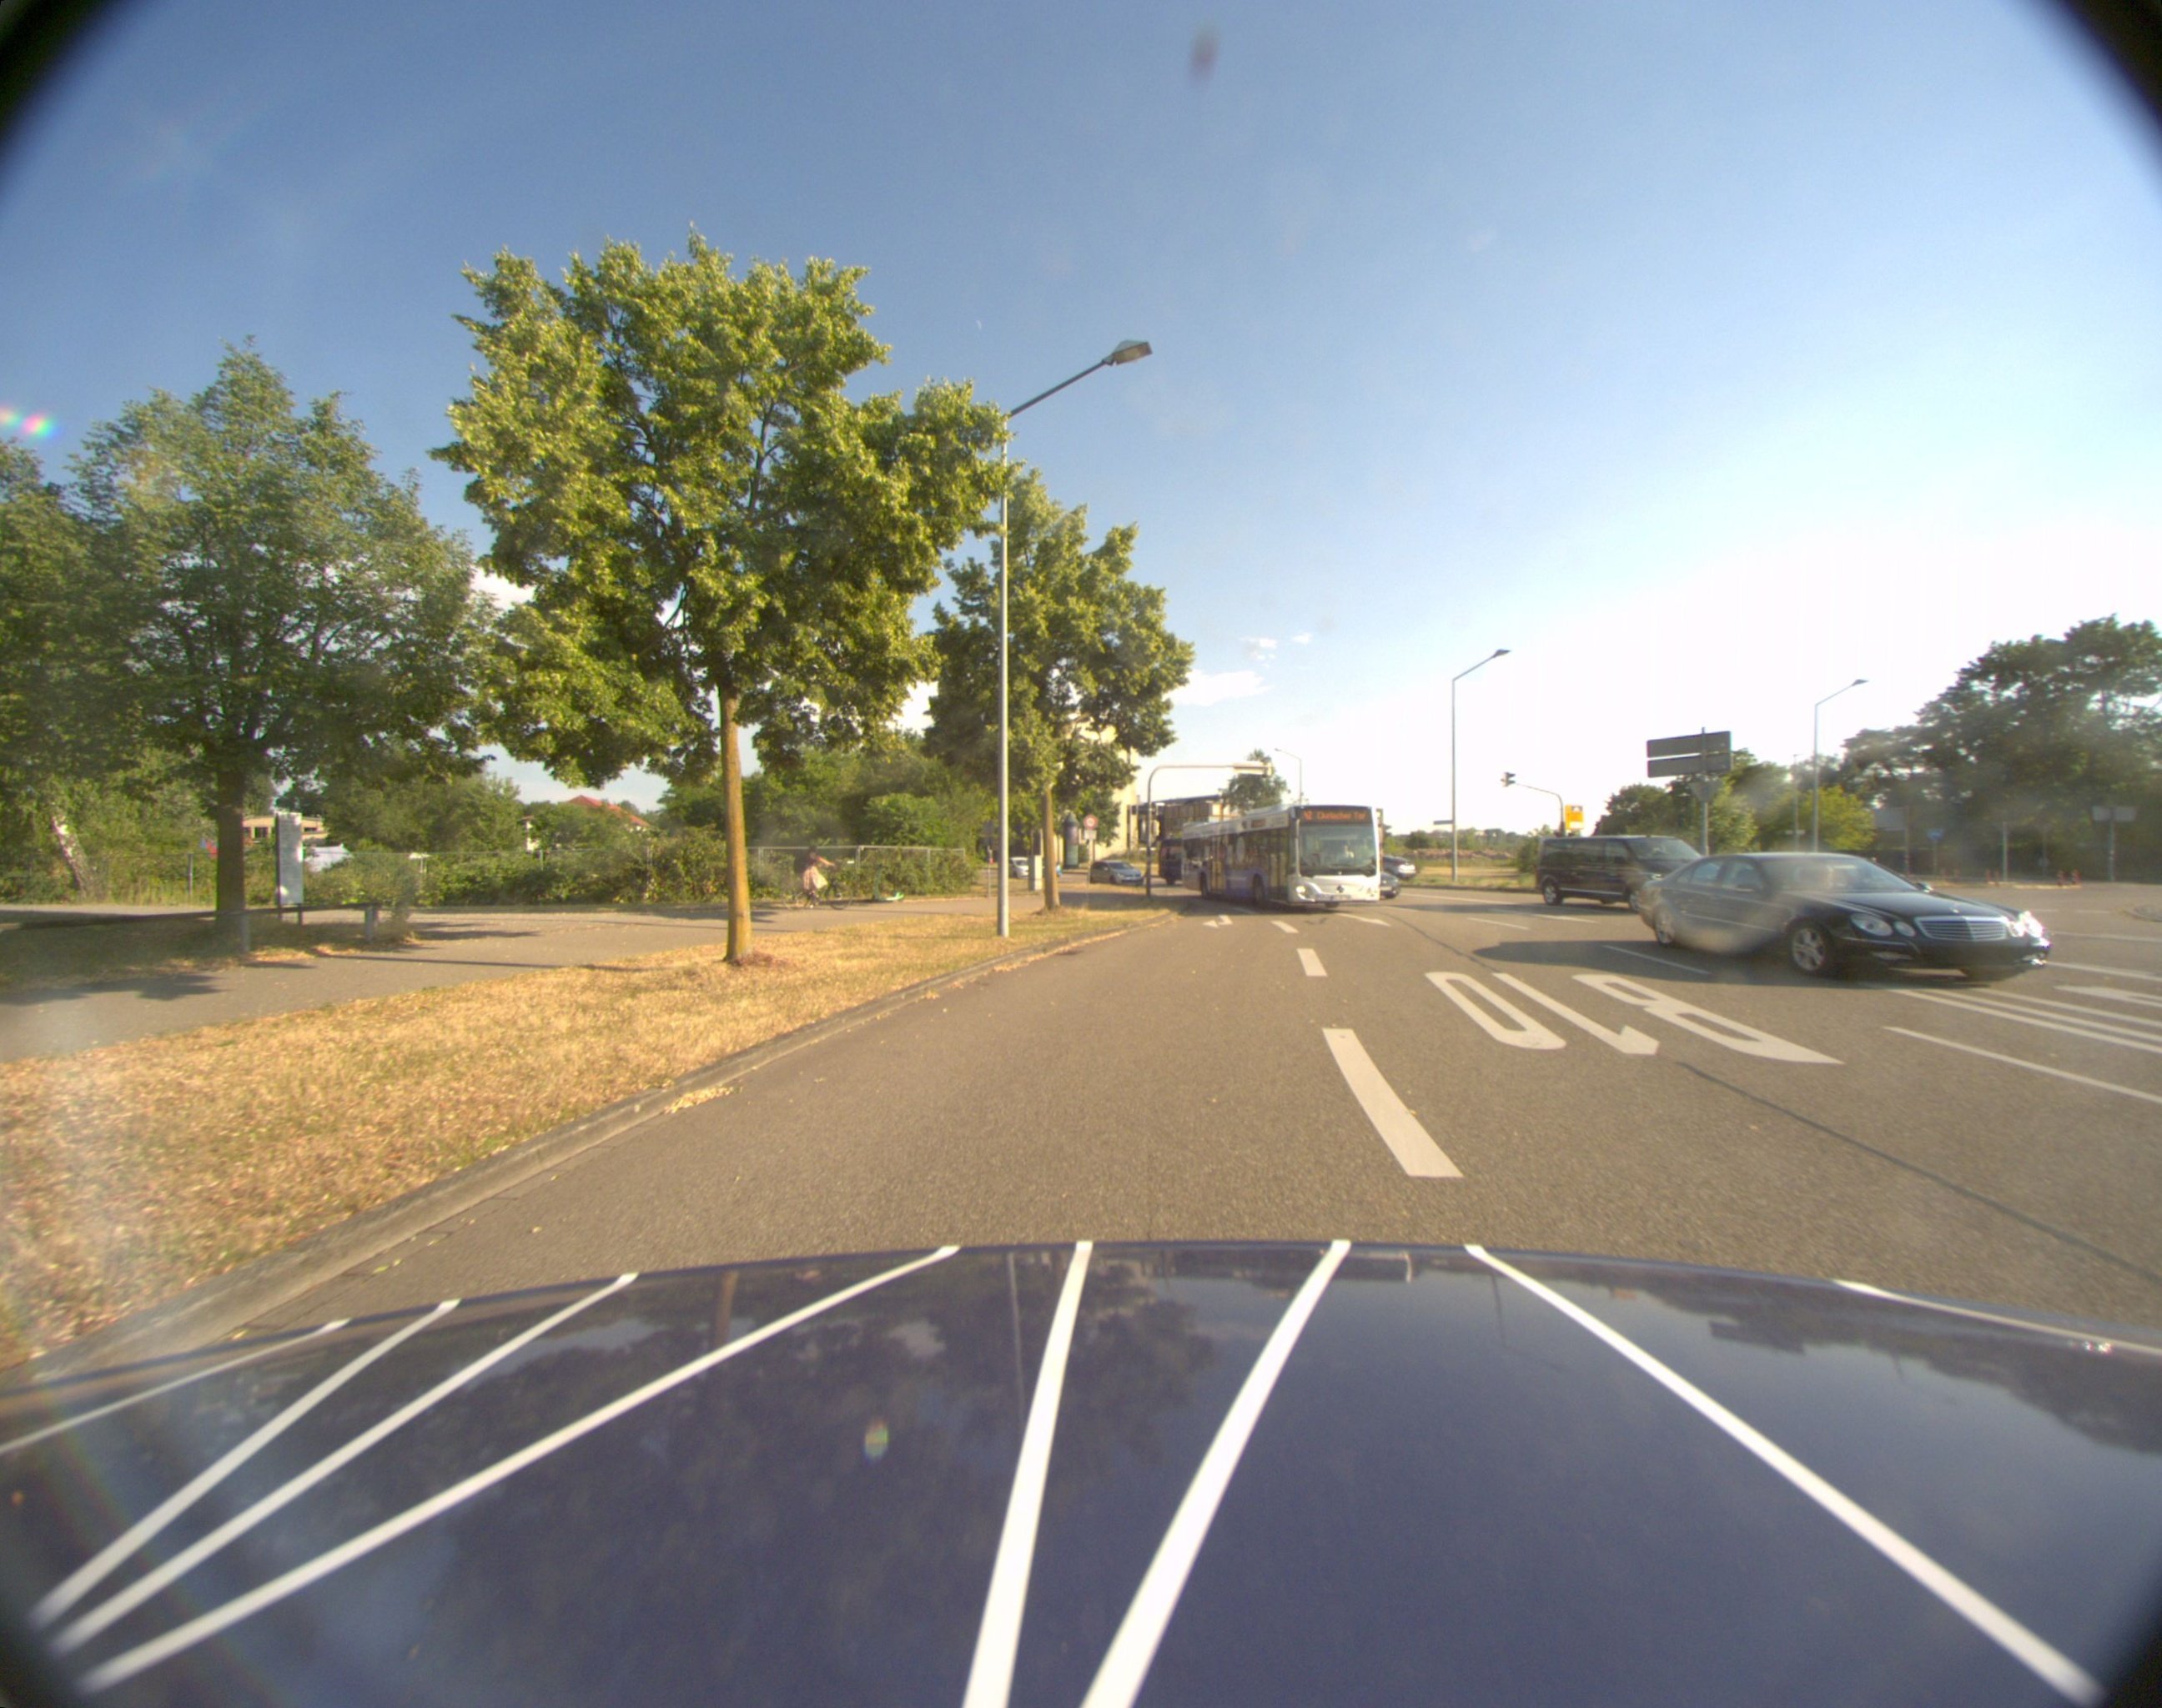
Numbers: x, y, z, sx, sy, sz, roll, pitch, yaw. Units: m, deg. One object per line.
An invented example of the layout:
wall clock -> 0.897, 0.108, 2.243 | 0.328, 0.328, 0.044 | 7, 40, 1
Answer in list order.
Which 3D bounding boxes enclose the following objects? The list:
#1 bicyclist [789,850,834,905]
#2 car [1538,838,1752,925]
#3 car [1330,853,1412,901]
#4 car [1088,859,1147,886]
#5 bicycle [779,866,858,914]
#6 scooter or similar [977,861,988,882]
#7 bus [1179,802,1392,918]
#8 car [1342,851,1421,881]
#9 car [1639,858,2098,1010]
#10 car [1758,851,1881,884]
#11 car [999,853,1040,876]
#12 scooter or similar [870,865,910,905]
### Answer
bicyclist -> -6.824, 0.569, 19.261 | 0.982, 1.355, 0.557 | -1, 1, -30
car -> 14.328, 0.578, 19.773 | 1.861, 1.921, 5.012 | -1, 1, 0
car -> 10.566, 0.784, 28.019 | 1.809, 1.501, 4.163 | -2, 1, 6
car -> 1.984, 0.974, 42.319 | 1.588, 1.415, 3.618 | 0, 0, -30
bicycle -> -6.648, 0.897, 19.278 | 1.832, 1.149, 0.490 | 0, 1, -30
scooter or similar -> -5.382, 0.946, 41.507 | 0.250, 1.119, 1.093 | 2, -1, -24
bus -> 6.214, 0.103, 25.963 | 2.596, 3.025, 11.709 | -1, 1, -8
car -> 17.552, 0.678, 44.592 | 1.779, 1.663, 4.190 | 0, 0, -28
car -> 9.378, 0.798, 9.739 | 1.808, 1.428, 4.497 | -1, 0, 10
car -> 35.371, 0.610, 36.528 | 3.933, 1.516, 1.660 | 0, 0, 30
car -> -4.424, 0.739, 54.249 | 1.588, 1.553, 3.618 | 0, 0, -30
scooter or similar -> -5.645, 0.897, 22.449 | 0.341, 1.153, 1.173 | 1, 1, 39
